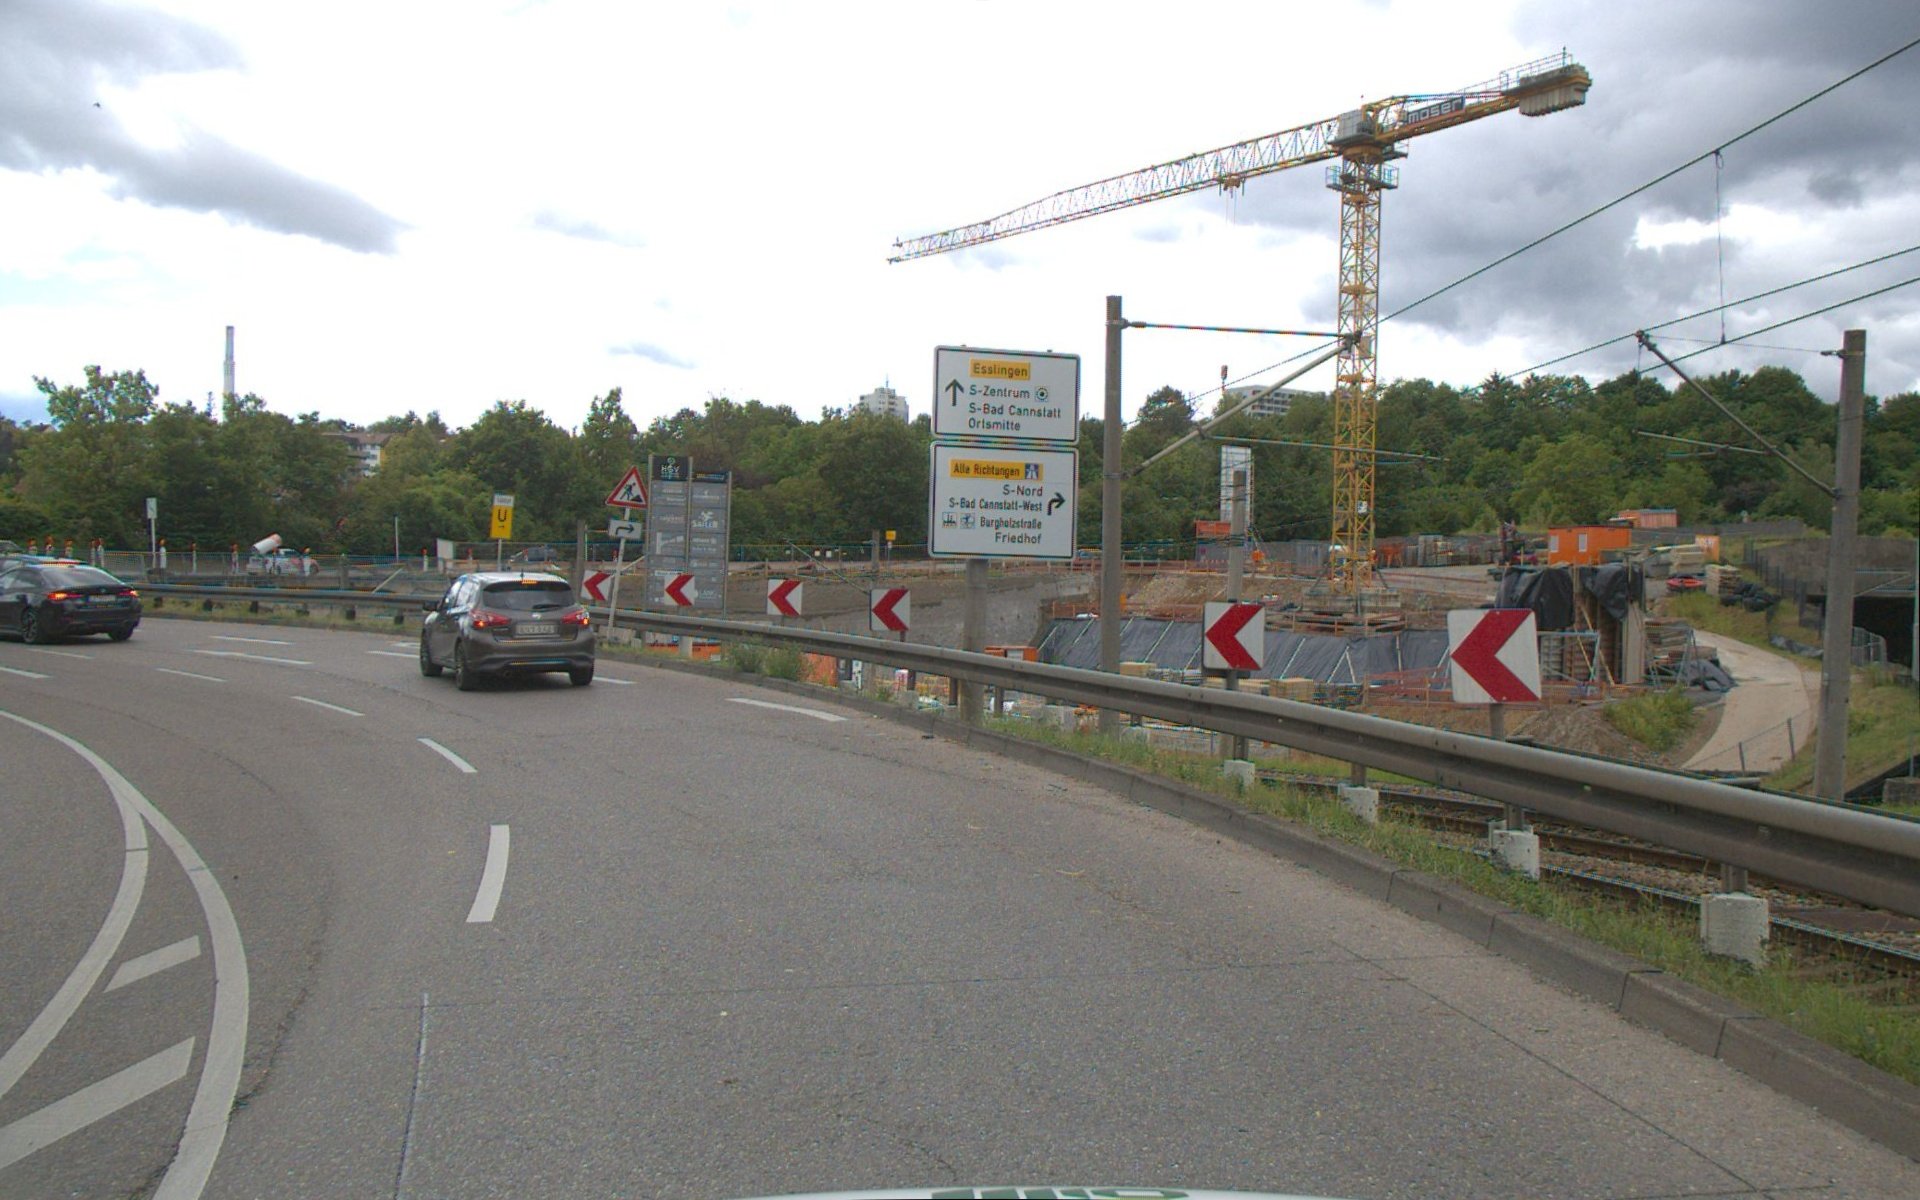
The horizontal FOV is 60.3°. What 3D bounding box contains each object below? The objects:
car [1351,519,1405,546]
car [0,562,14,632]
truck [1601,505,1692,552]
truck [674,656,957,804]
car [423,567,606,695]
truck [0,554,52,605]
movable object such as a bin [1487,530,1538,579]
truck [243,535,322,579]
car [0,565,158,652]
[{"bbox_3d":[33.588,-5.384,132.929,3.938,2.049,1.983,0,0,-26],"label":"car"},{"bbox_3d":[-22.384,-0.055,35.783,3.548,1.494,1.672,1,4,29],"label":"car"},{"bbox_3d":[66.296,-6.882,159.556,9.665,4.294,3.087,0,1,-32],"label":"truck"},{"bbox_3d":[-5.367,4.407,58.828,11.410,3.960,2.831,4,2,41],"label":"truck"},{"bbox_3d":[-6.330,0.353,23.237,1.776,1.579,3.967,-1,2,-26],"label":"car"},{"bbox_3d":[-40.412,-0.875,69.934,1.698,2.049,3.229,2,-1,15],"label":"truck"},{"bbox_3d":[36.627,-3.011,109.725,1.815,3.131,2.773,0,0,-29],"label":"movable object such as a bin"},{"bbox_3d":[-35.206,-2.204,86.115,1.951,2.049,4.003,2,-1,8],"label":"truck"},{"bbox_3d":[-18.004,0.115,32.643,4.866,1.502,1.872,2,3,37],"label":"car"}]
